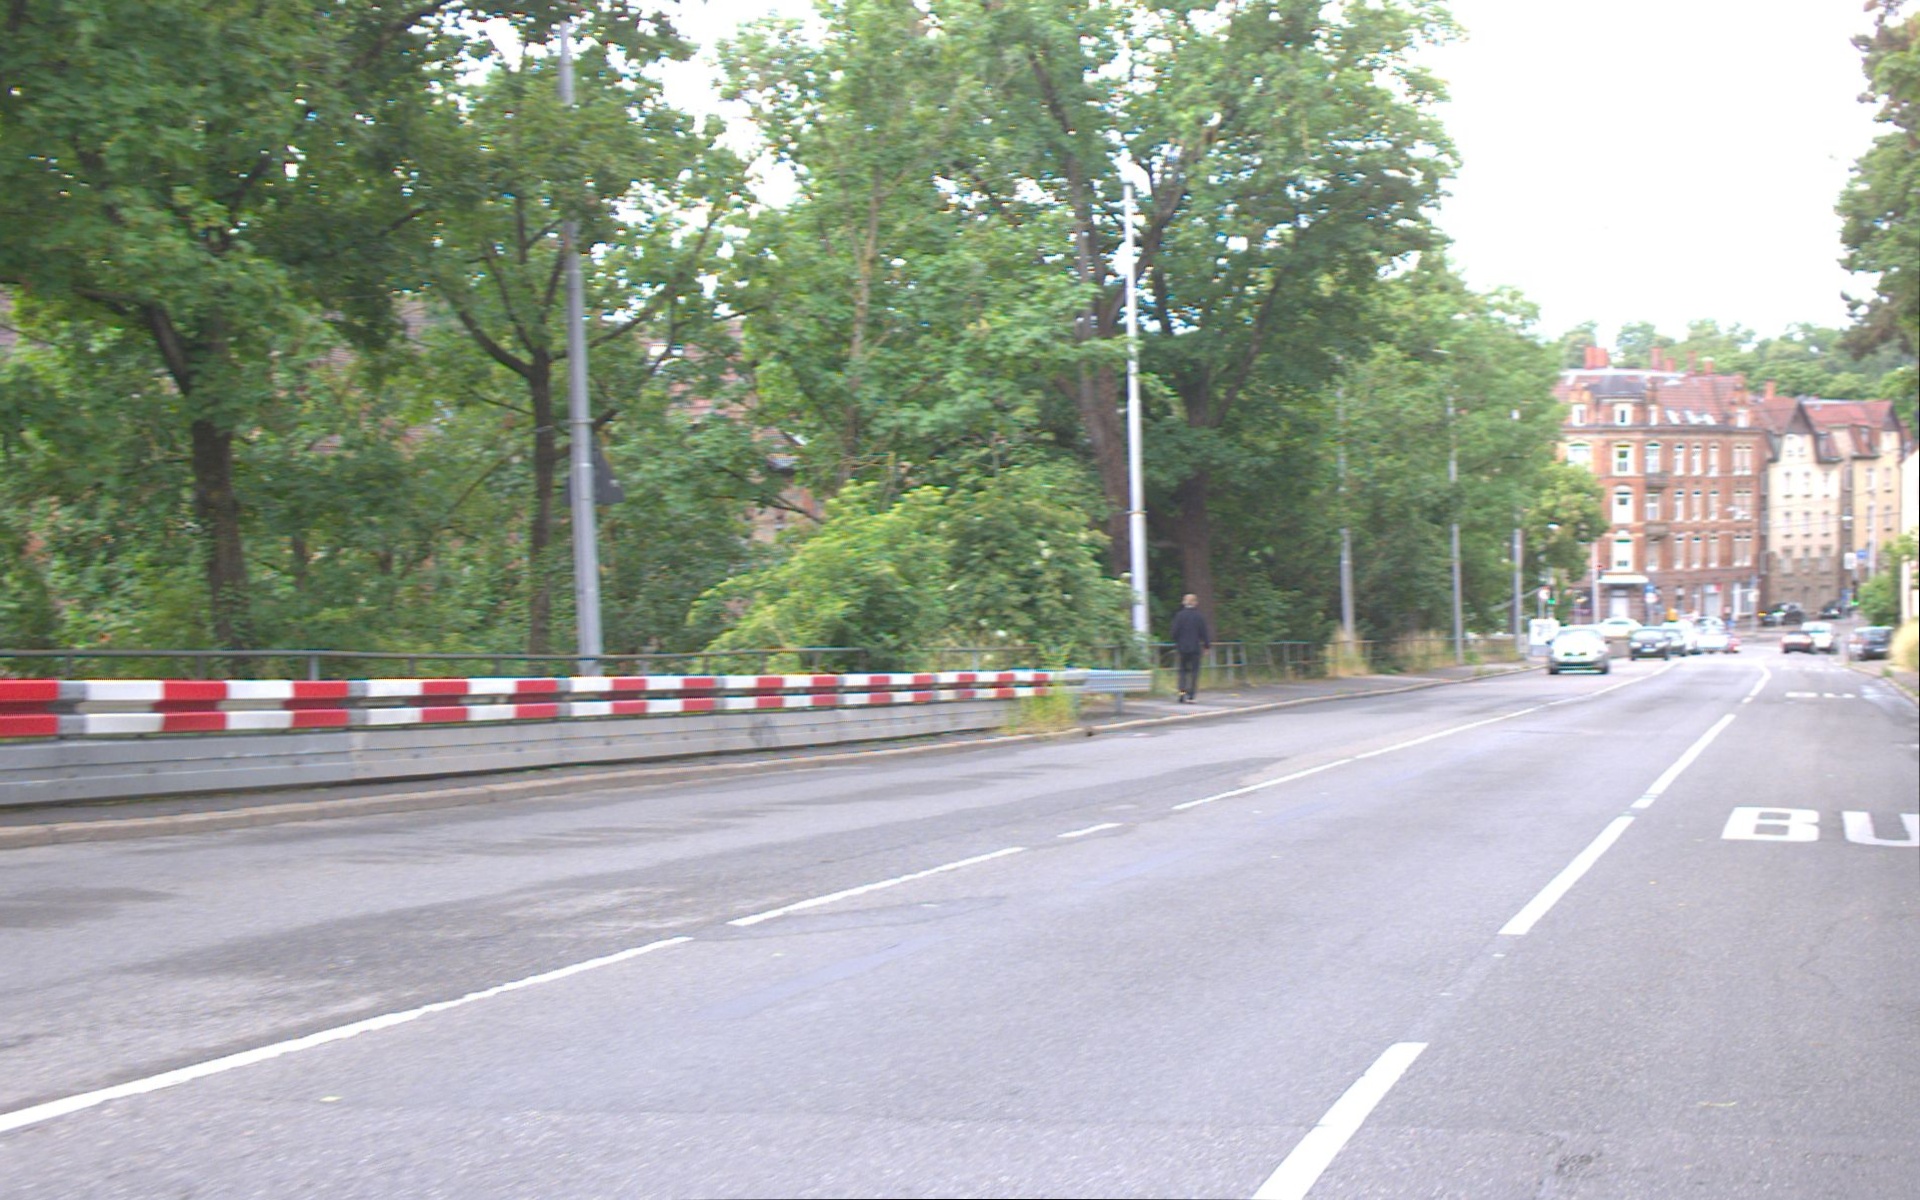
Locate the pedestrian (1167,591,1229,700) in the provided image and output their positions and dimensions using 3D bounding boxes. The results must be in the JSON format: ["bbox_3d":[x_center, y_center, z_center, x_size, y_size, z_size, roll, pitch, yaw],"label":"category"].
[{"bbox_3d":[3.992,0.752,57.613,0.789,1.768,1.208,3,0,12],"label":"pedestrian"}]

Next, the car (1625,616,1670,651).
[{"bbox_3d":[29.762,1.451,148.862,1.670,1.442,3.685,-1,-1,15],"label":"car"}]

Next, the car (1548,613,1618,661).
[{"bbox_3d":[19.055,1.110,105.000,1.795,1.422,4.140,0,0,14],"label":"car"}]

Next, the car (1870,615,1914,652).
[{"bbox_3d":[39.990,1.459,147.580,1.682,1.446,3.997,-3,-2,14],"label":"car"}]

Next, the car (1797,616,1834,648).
[{"bbox_3d":[53.110,1.998,213.385,1.911,1.877,3.996,2,-1,19],"label":"car"}]

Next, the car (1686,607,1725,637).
[{"bbox_3d":[38.761,1.151,178.766,1.795,1.505,3.997,-1,0,15],"label":"car"}]

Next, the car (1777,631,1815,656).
[{"bbox_3d":[49.748,2.574,204.454,1.818,1.425,3.996,2,0,19],"label":"car"}]

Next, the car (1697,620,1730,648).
[{"bbox_3d":[44.001,2.008,200.626,1.785,1.569,4.278,-1,-1,14],"label":"car"}]
